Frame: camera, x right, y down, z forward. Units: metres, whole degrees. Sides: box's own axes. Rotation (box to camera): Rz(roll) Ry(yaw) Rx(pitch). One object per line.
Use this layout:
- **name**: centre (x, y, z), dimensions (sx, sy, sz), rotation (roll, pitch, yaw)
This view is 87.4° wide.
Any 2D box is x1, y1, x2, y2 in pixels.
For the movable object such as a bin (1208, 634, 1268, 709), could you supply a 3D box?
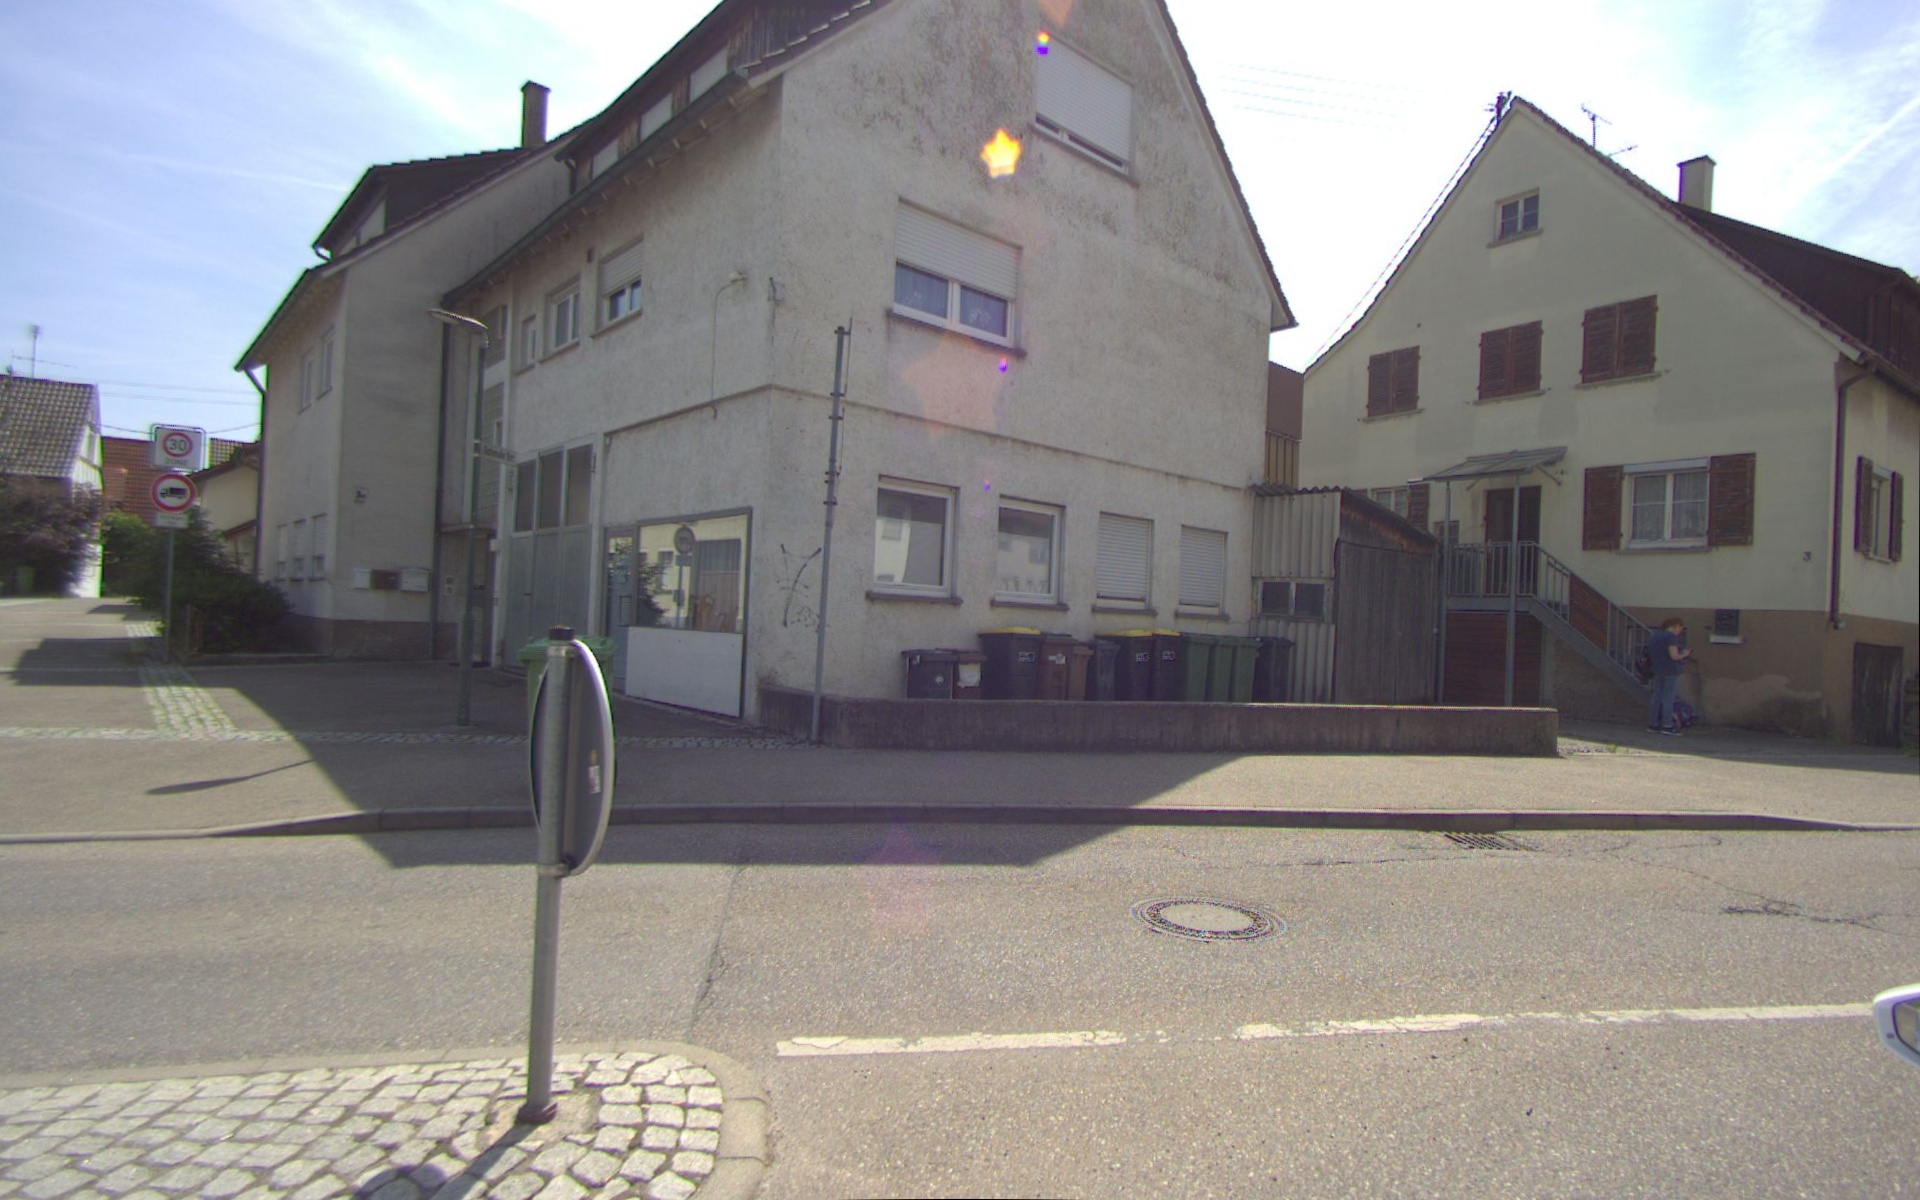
- **movable object such as a bin**: centre (4.136, 1.051, 14.947), dimensions (0.599, 1.049, 0.621), rotation (2, 0, -43)

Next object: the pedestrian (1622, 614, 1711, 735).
- **pedestrian**: centre (9.790, 1.013, 13.936), dimensions (0.619, 1.595, 0.774), rotation (1, 0, -25)

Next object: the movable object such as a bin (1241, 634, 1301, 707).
- **movable object such as a bin**: centre (4.728, 1.062, 15.252), dimensions (0.609, 1.048, 0.622), rotation (2, 0, -43)

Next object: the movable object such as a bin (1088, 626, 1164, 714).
- **movable object such as a bin**: centre (2.198, 0.912, 13.304), dimensions (0.693, 1.097, 0.676), rotation (2, 0, -43)

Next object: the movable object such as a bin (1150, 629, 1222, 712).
- **movable object such as a bin**: centre (3.191, 0.981, 14.193), dimensions (0.656, 1.097, 0.732), rotation (2, 0, -43)

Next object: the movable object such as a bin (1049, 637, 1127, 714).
- **movable object such as a bin**: centre (1.632, 0.939, 12.806), dimensions (0.693, 0.908, 0.676), rotation (2, 0, -43)

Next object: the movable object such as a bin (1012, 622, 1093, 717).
- **movable object such as a bin**: centre (1.130, 0.832, 12.315), dimensions (0.693, 1.100, 0.676), rotation (2, 0, -43)

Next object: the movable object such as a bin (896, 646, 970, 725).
- **movable object such as a bin**: centre (-0.298, 0.929, 11.115), dimensions (0.642, 0.816, 0.481), rotation (2, 0, -41)

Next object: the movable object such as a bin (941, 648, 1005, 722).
- **movable object such as a bin**: centre (0.146, 0.963, 11.503), dimensions (0.523, 0.791, 0.480), rotation (2, 0, -43)

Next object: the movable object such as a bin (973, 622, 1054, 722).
- **movable object such as a bin**: centre (0.626, 0.828, 11.844), dimensions (0.640, 1.100, 0.676), rotation (2, 0, -43)

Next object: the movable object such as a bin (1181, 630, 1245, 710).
- **movable object such as a bin**: centre (3.669, 1.005, 14.592), dimensions (0.579, 1.097, 0.672), rotation (2, 0, -43)

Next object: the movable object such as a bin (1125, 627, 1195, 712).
- **movable object such as a bin**: centre (2.736, 0.934, 13.735), dimensions (0.621, 1.097, 0.676), rotation (2, 0, -43)

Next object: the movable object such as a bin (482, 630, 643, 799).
- **movable object such as a bin**: centre (-2.701, 0.756, 6.912), dimensions (0.811, 1.059, 0.810), rotation (2, 0, -6)
